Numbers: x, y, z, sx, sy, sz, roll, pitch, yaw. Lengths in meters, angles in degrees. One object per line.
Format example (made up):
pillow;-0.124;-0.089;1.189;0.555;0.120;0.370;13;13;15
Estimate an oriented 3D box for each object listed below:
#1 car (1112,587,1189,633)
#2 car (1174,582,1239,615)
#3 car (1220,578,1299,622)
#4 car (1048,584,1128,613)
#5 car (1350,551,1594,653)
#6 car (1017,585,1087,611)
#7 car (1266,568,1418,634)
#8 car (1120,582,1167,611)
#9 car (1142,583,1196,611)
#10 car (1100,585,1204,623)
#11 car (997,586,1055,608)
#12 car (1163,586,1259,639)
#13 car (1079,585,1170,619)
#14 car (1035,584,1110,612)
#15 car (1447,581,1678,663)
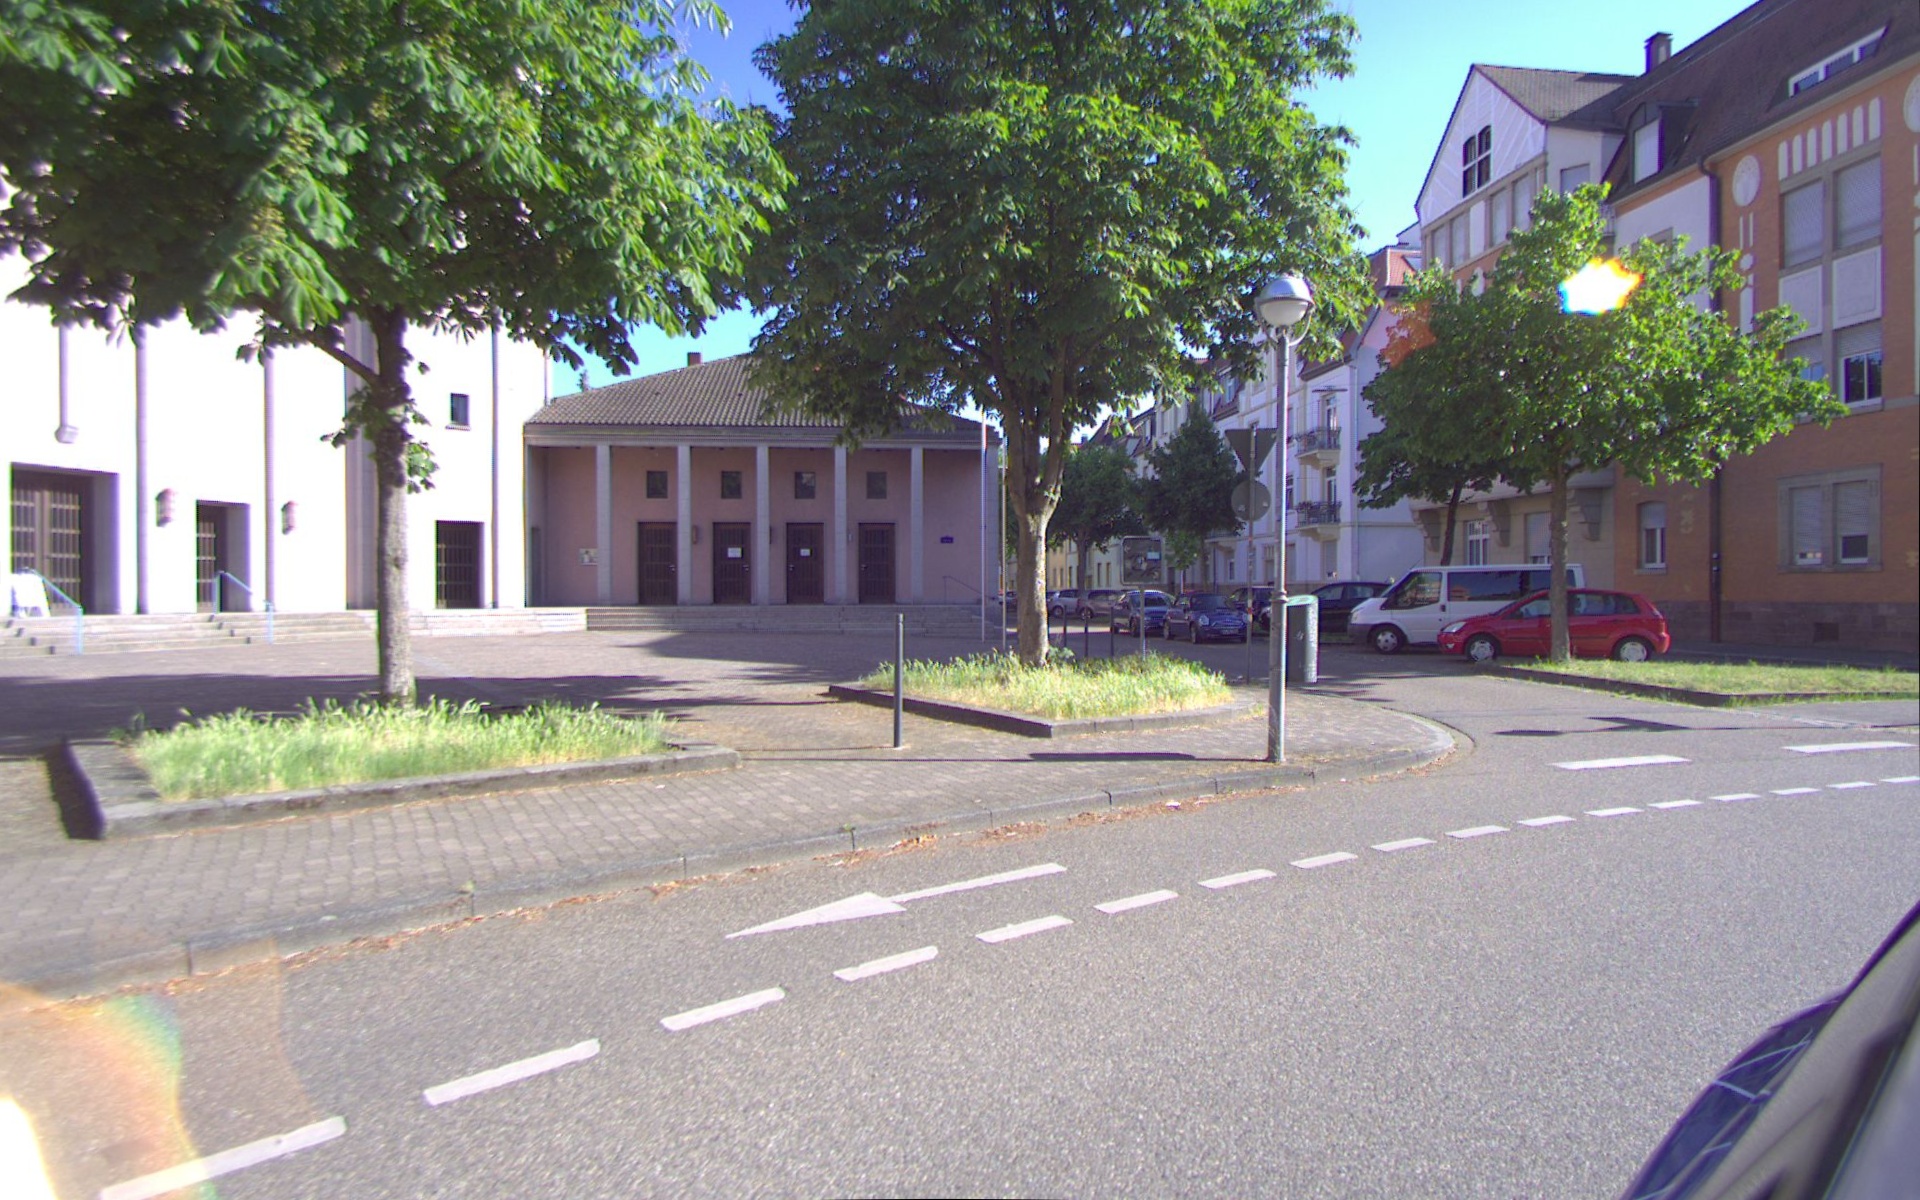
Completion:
car;6.296;0.279;33.861;1.582;1.440;3.618;0;1;-5
car;11.315;-0.096;46.717;1.726;1.474;3.959;0;1;-5
car;12.041;-0.042;40.911;1.726;1.678;3.959;0;1;-5
car;6.863;-0.113;54.163;3.922;1.515;1.743;0;1;30
car;11.257;0.015;22.504;4.662;2.071;1.975;0;1;28
car;5.560;-0.145;61.241;3.907;1.515;1.749;0;1;21
car;10.778;-0.007;28.548;3.914;1.760;1.746;0;1;26
car;10.645;-0.249;59.009;1.726;1.637;3.959;0;1;-5
car;11.037;-0.184;53.685;1.726;1.474;3.959;0;1;-5
car;7.975;0.131;42.112;3.922;1.515;1.743;0;1;30
car;4.745;-0.212;72.726;3.907;1.515;1.749;0;1;21
car;7.191;0.311;29.300;1.582;1.440;3.618;0;1;-5
car;7.802;0.065;48.116;3.922;1.515;1.743;0;1;30
car;6.406;-0.125;57.679;3.922;1.515;1.743;0;1;30
car;11.441;0.364;19.501;3.658;1.453;1.655;0;1;26
